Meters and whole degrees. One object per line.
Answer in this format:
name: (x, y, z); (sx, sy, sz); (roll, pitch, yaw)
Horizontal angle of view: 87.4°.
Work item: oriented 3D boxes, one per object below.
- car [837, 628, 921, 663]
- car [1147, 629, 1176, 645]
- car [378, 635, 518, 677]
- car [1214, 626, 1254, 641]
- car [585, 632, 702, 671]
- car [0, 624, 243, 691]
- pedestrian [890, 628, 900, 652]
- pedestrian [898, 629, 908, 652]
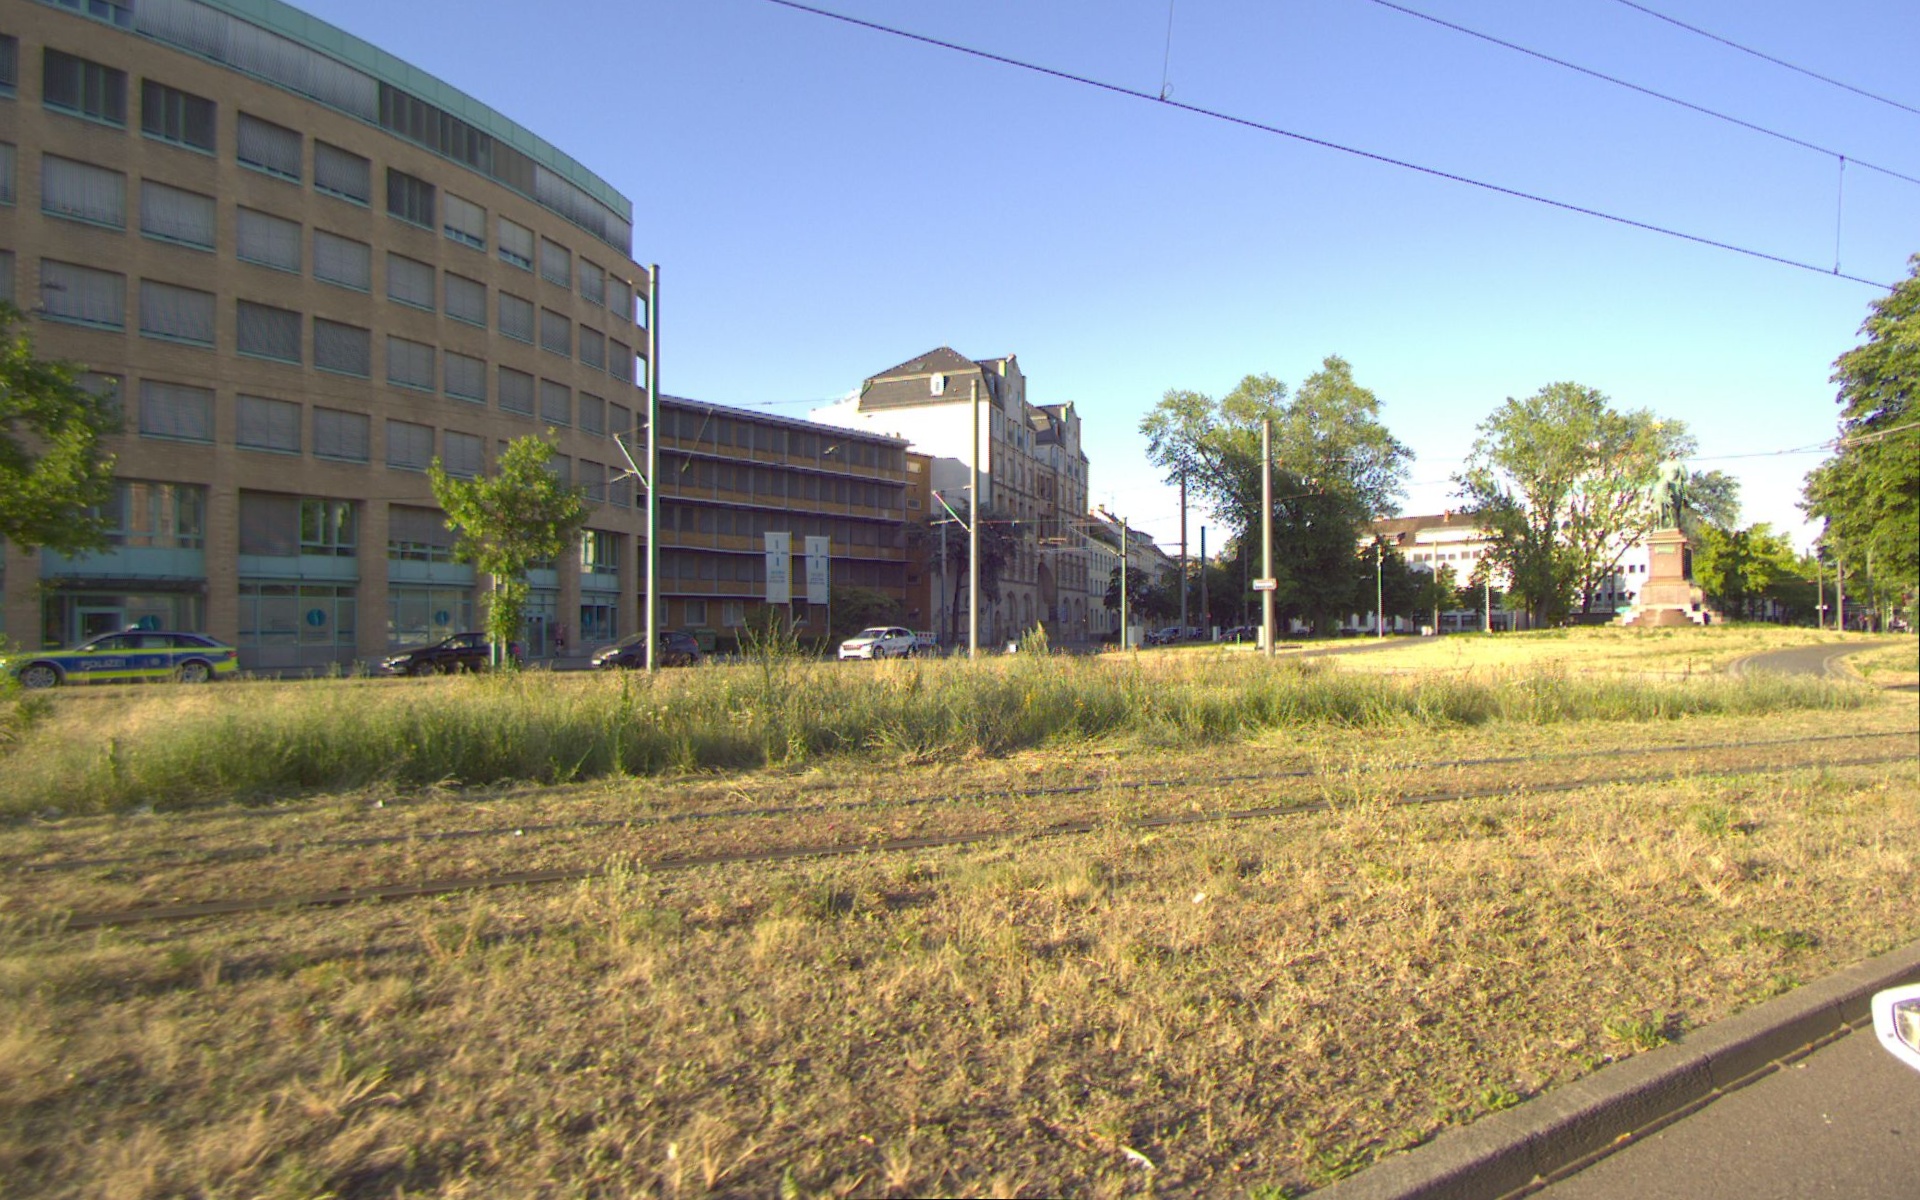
car: (-3.651, 2.059, 46.051); (1.744, 1.502, 4.302); (-1, -1, 28)
car: (17.208, 3.152, 85.730); (1.541, 1.275, 3.725); (-1, -1, 25)
car: (-15.717, 1.694, 30.953); (1.503, 1.169, 3.579); (-1, -1, 42)
car: (25.425, 3.113, 93.336); (3.474, 1.372, 1.544); (0, 0, -26)
car: (-11.263, 1.807, 35.899); (1.629, 1.298, 3.717); (-2, -2, 44)
car: (-20.999, 1.374, 25.134); (1.869, 1.500, 4.753); (-2, -2, 44)
pedestrian: (-4.084, 2.518, 63.225); (0.409, 1.449, 0.482); (-1, -1, 43)
pedestrian: (-3.551, 2.519, 62.737); (0.409, 1.449, 0.482); (-1, -1, 43)
